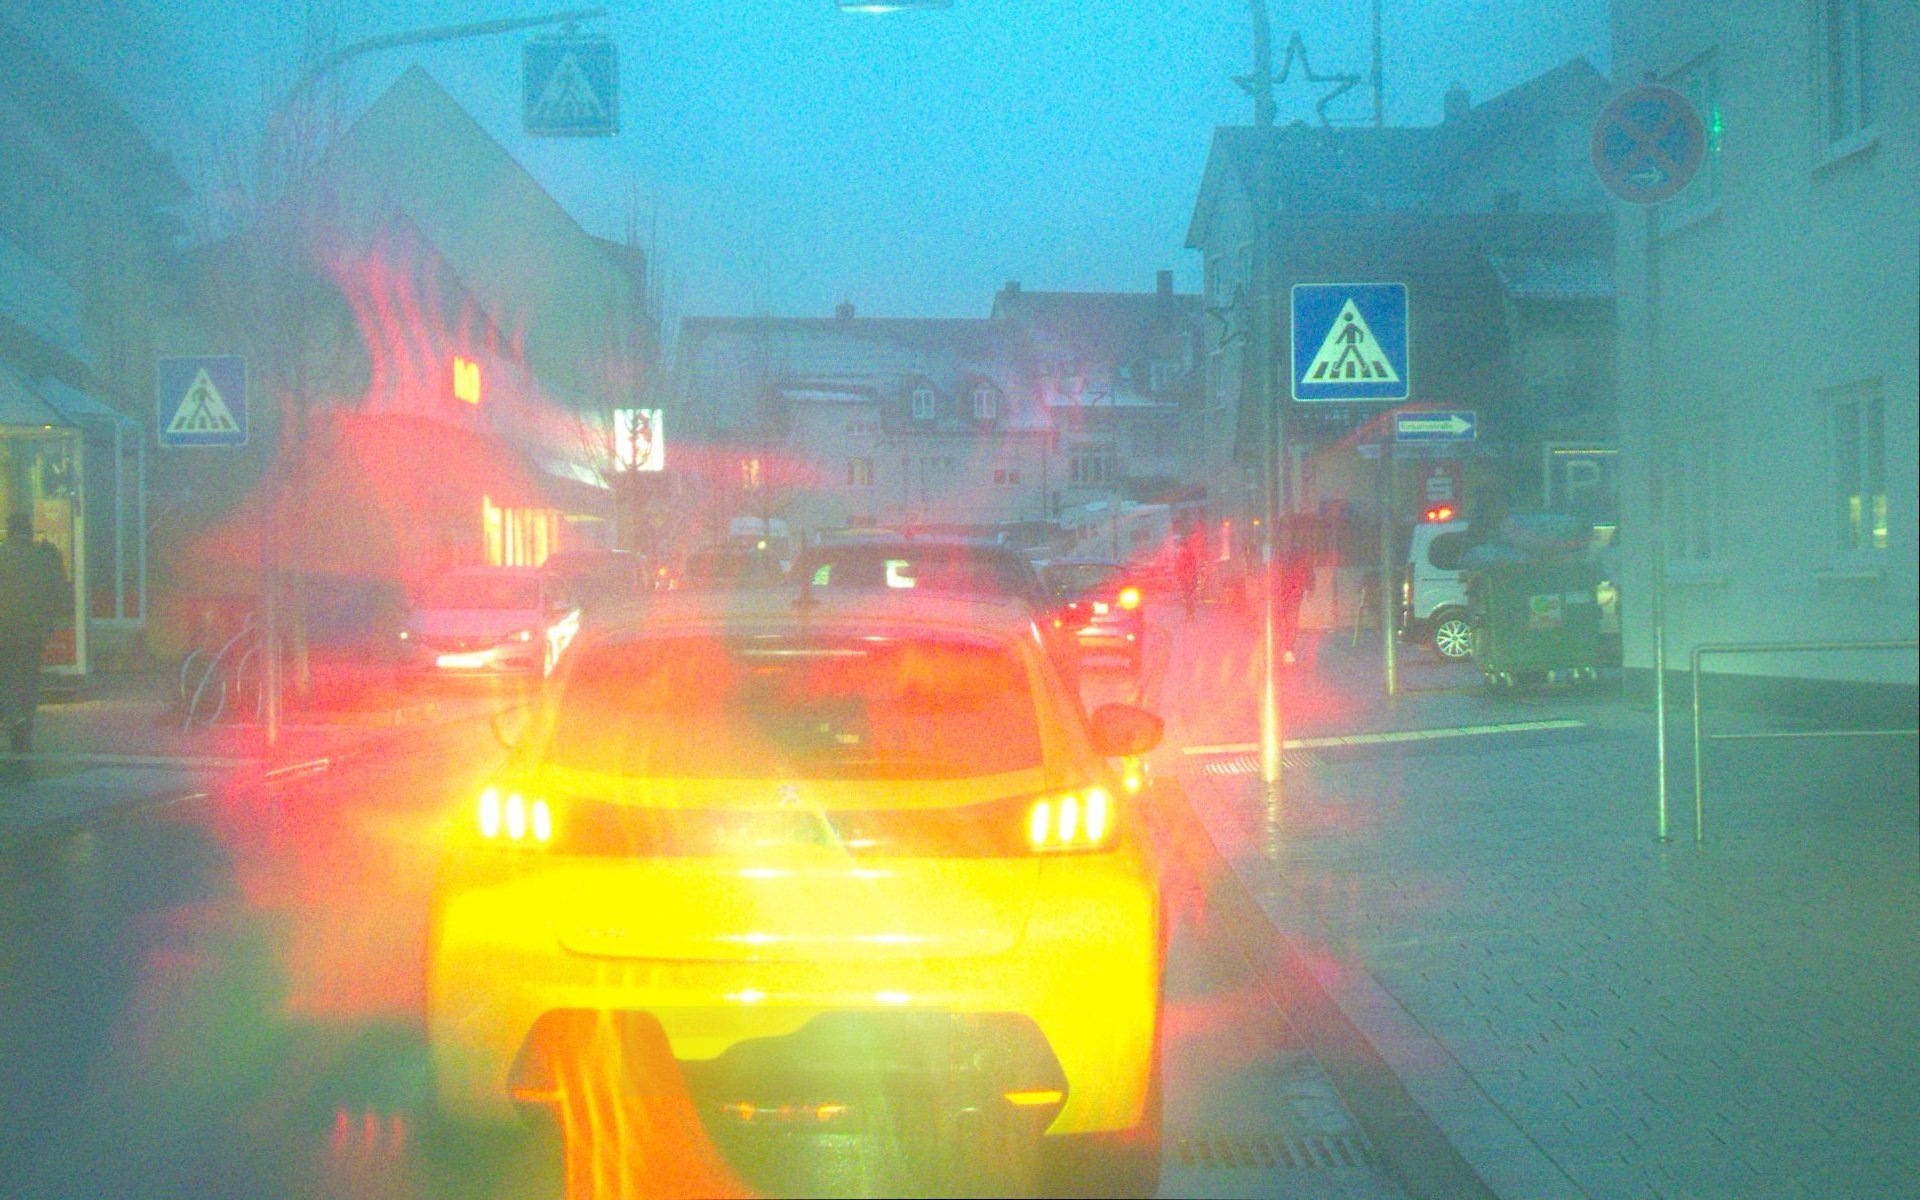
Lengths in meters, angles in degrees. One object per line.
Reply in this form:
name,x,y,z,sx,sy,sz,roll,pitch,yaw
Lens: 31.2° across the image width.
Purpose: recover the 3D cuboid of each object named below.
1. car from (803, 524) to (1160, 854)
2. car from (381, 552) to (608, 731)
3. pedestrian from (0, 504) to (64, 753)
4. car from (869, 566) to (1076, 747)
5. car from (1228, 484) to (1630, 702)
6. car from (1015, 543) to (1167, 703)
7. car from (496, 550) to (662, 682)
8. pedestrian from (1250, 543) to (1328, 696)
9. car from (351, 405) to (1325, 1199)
car,0.137,0.445,19.418,1.798,1.656,4.000,0,0,1
car,-5.451,0.444,40.783,1.993,2.007,4.361,0,0,1
pedestrian,-7.246,0.204,26.203,0.703,1.870,0.617,1,1,-6
car,0.172,0.480,32.642,1.827,1.596,4.581,0,1,2
car,4.465,-0.070,33.125,3.697,2.007,1.689,1,0,3
car,1.726,0.264,46.428,1.641,2.007,4.001,-2,1,-3
car,-5.249,0.194,47.833,1.993,1.746,4.362,0,1,-2
pedestrian,4.379,0.250,45.809,1.016,2.007,1.275,0,0,5
car,-0.160,0.453,9.404,1.994,1.789,4.648,0,1,2
